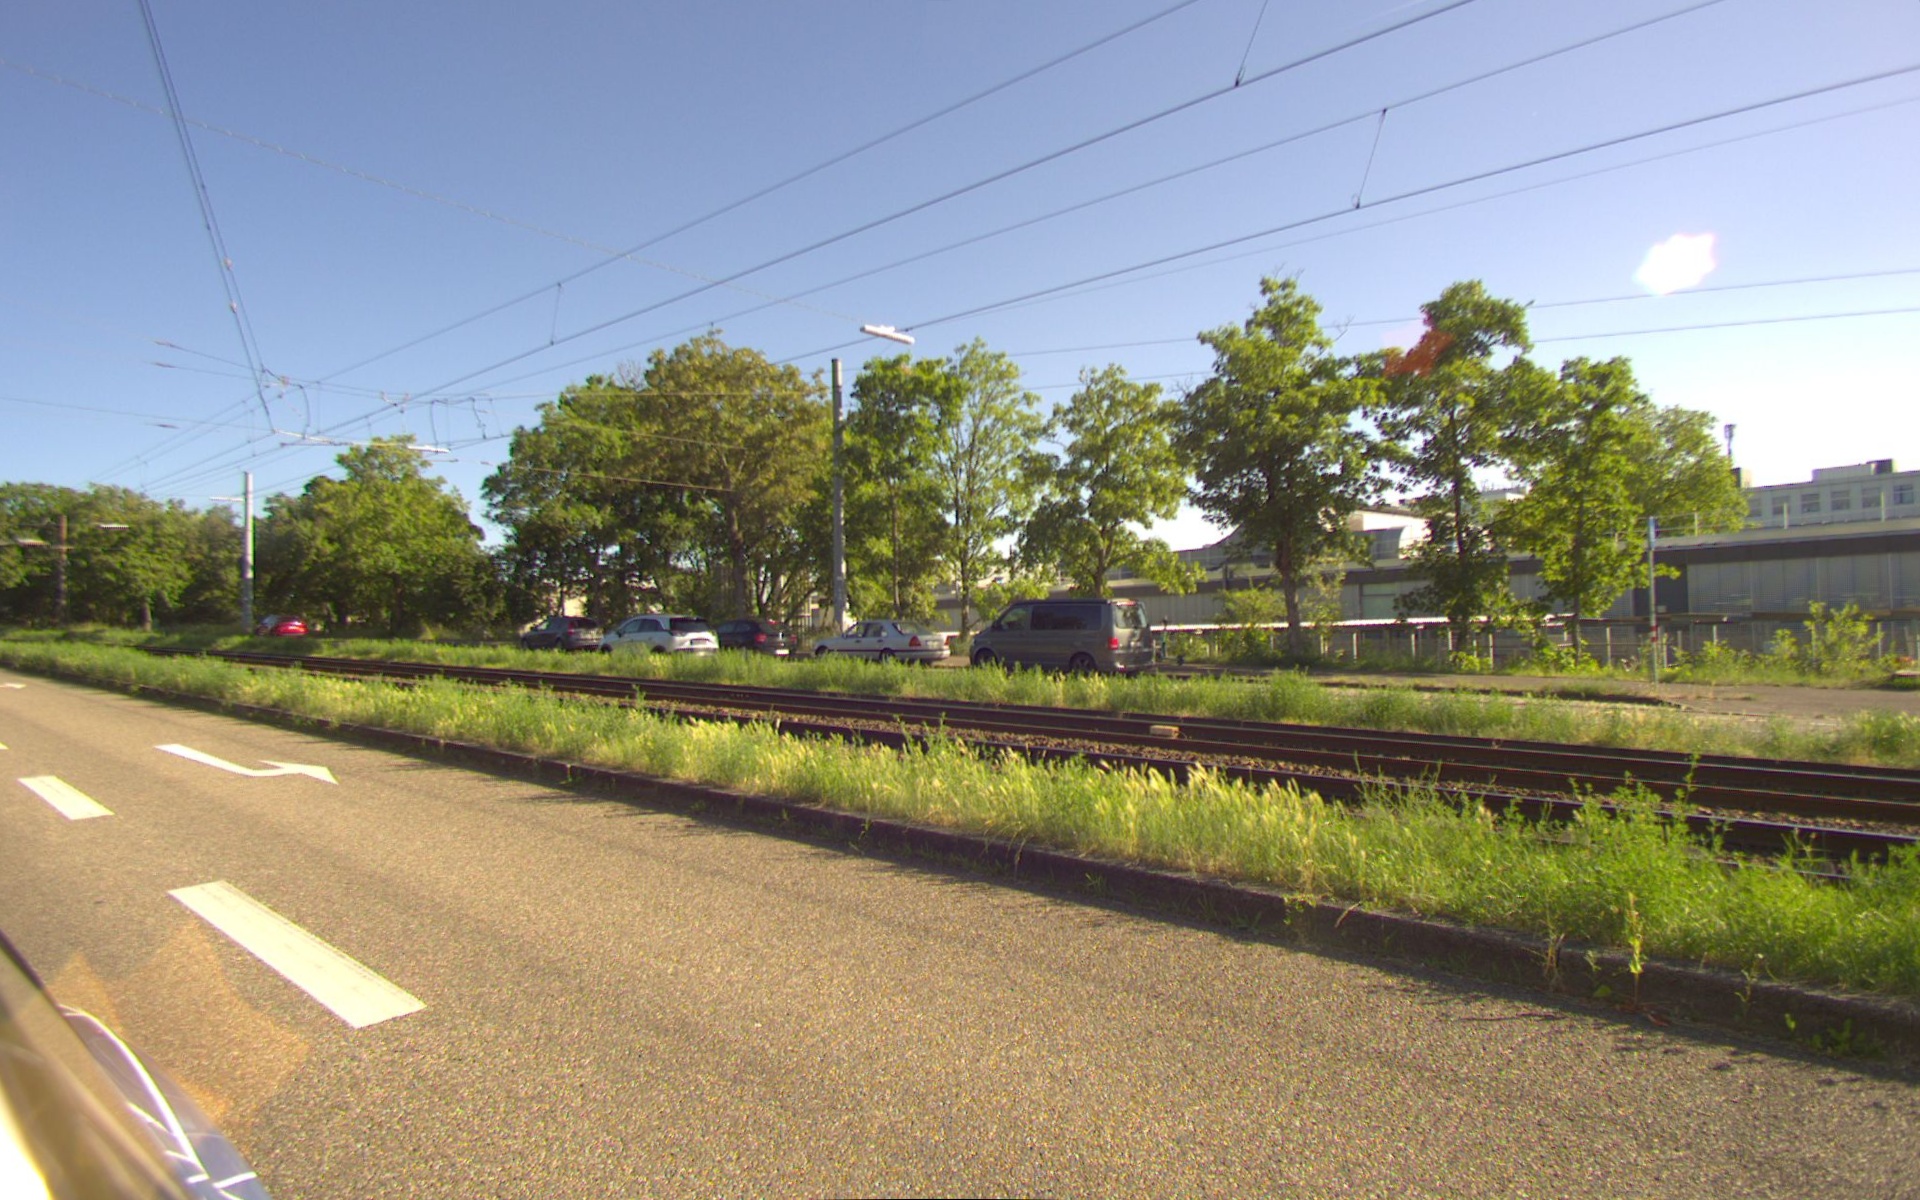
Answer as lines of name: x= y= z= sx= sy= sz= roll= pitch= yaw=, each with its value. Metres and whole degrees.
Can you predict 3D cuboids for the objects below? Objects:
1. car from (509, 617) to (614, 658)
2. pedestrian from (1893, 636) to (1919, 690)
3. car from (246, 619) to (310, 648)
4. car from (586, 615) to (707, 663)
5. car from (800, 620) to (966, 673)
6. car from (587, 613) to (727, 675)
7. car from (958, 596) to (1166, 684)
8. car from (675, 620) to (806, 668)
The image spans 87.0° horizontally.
car: x=-16.272 y=1.523 z=41.267 sx=4.557 sy=1.575 sz=2.103 roll=-2 pitch=-1 yaw=41
pedestrian: x=23.527 y=1.540 z=25.025 sx=0.435 sy=1.310 sz=0.441 roll=-1 pitch=-2 yaw=-1
car: x=-42.467 y=2.083 z=62.994 sx=4.797 sy=1.746 sz=2.290 roll=-2 pitch=-1 yaw=43
car: x=-11.443 y=1.393 z=36.791 sx=4.614 sy=1.599 sz=2.102 roll=-2 pitch=-1 yaw=41
car: x=-2.270 y=1.314 z=29.232 sx=4.612 sy=1.391 sz=2.103 roll=-2 pitch=-1 yaw=40
car: x=-8.482 y=1.198 z=28.150 sx=4.155 sy=1.569 sz=1.835 roll=-2 pitch=-1 yaw=42
car: x=2.421 y=0.945 z=24.825 sx=4.684 sy=1.949 sz=2.178 roll=-2 pitch=-1 yaw=42
car: x=-7.248 y=1.426 z=33.239 sx=4.486 sy=1.437 sz=1.935 roll=-2 pitch=-1 yaw=42
